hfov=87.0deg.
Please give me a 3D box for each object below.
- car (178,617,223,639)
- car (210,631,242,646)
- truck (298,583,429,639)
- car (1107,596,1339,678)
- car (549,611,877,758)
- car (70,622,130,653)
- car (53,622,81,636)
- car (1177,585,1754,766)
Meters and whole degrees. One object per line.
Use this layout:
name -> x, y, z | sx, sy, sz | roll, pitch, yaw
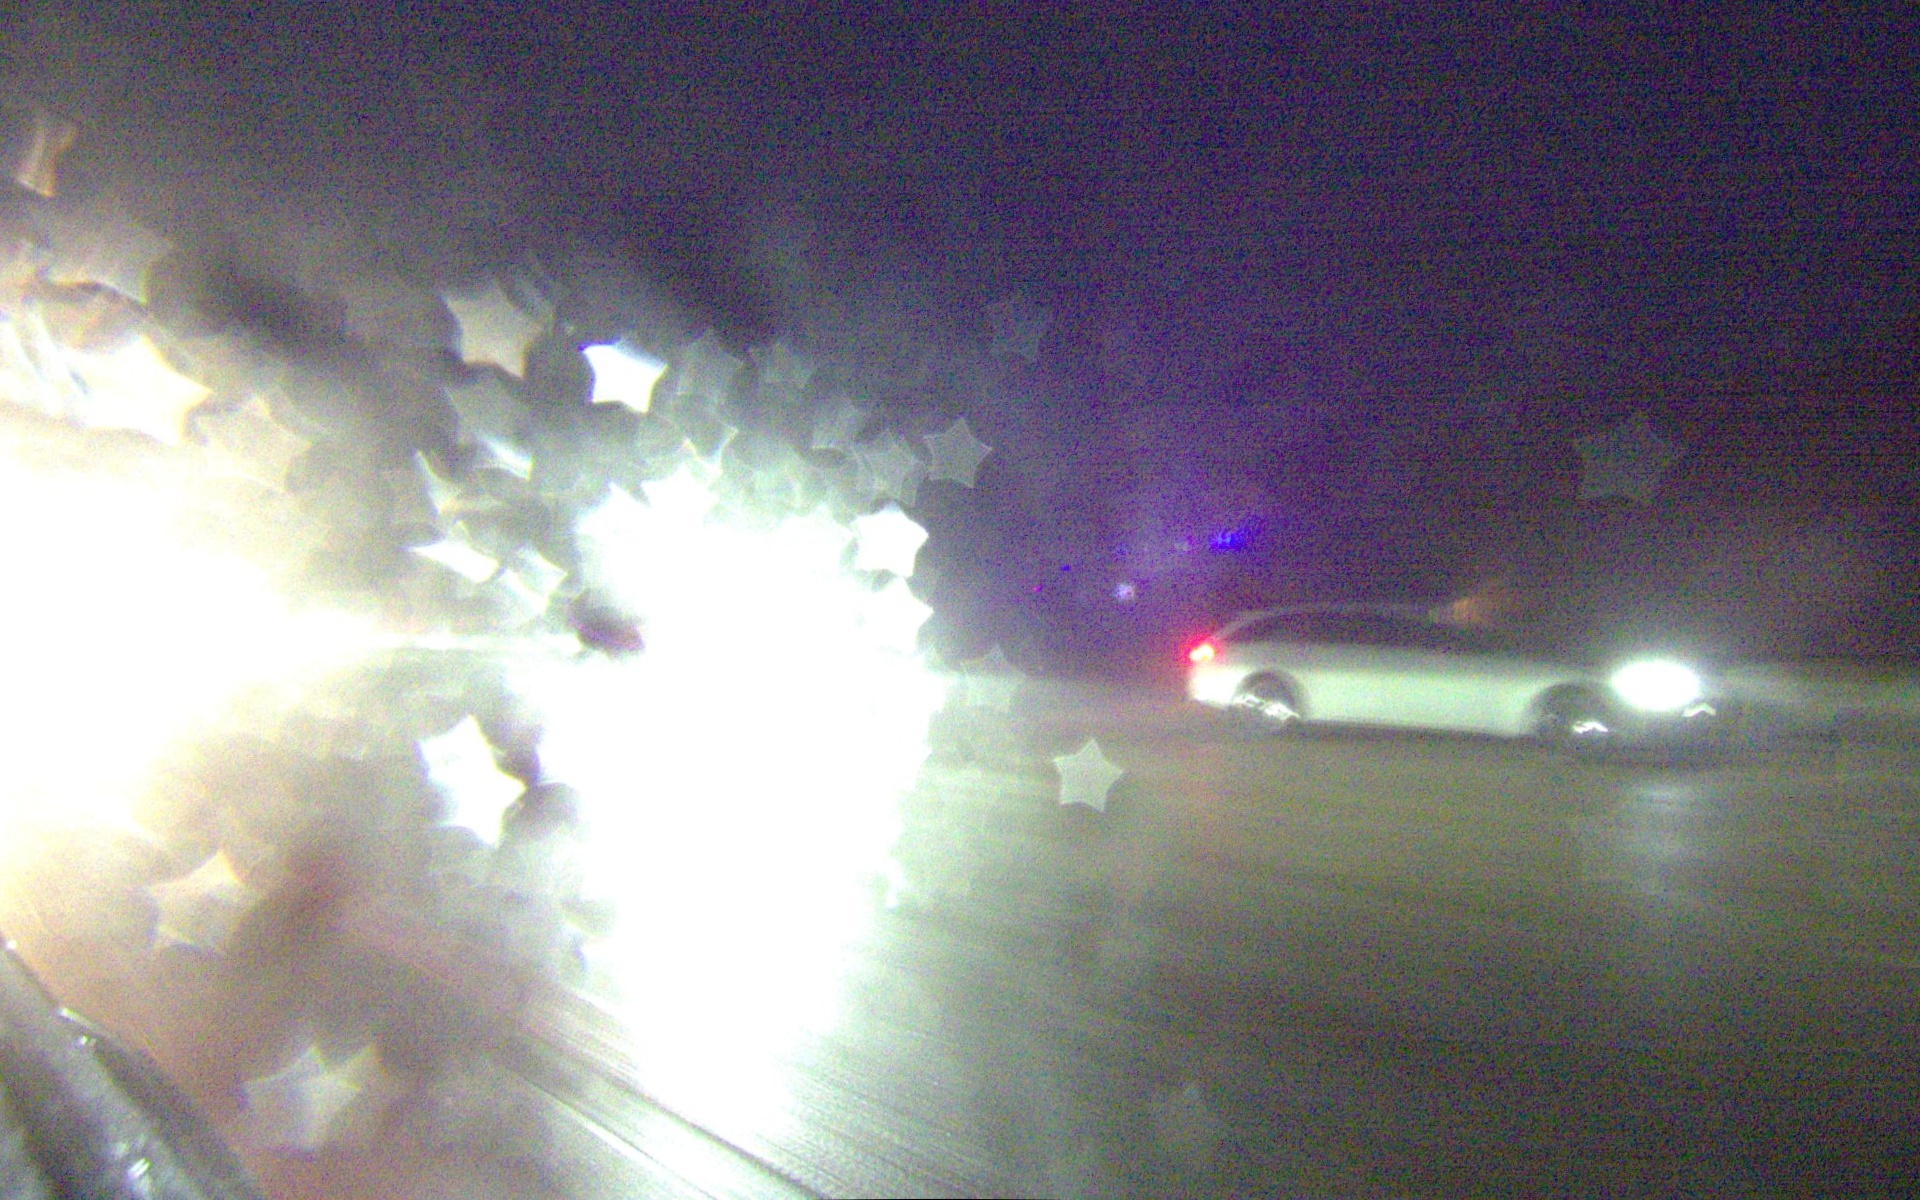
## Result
car -> -59.853, 2.186, 79.725 | 4.457, 1.569, 1.861 | -1, 0, 41
car -> -81.010, 4.240, 111.738 | 4.457, 1.569, 1.861 | -1, 0, 41
truck -> -45.572, 0.825, 76.841 | 17.175, 3.917, 3.462 | -1, 0, 42
car -> 5.558, 0.735, 21.702 | 4.457, 1.569, 1.861 | -1, 0, 41
car -> -3.115, 0.885, 12.365 | 3.998, 1.452, 1.973 | -1, 0, 42
car -> -48.514, 2.090, 57.059 | 4.586, 1.572, 1.972 | -1, 0, 42
car -> -105.224, 3.395, 119.174 | 4.457, 1.569, 1.861 | -1, 0, 41
car -> 5.108, 0.637, 10.752 | 5.162, 1.487, 1.973 | -1, 0, 41
